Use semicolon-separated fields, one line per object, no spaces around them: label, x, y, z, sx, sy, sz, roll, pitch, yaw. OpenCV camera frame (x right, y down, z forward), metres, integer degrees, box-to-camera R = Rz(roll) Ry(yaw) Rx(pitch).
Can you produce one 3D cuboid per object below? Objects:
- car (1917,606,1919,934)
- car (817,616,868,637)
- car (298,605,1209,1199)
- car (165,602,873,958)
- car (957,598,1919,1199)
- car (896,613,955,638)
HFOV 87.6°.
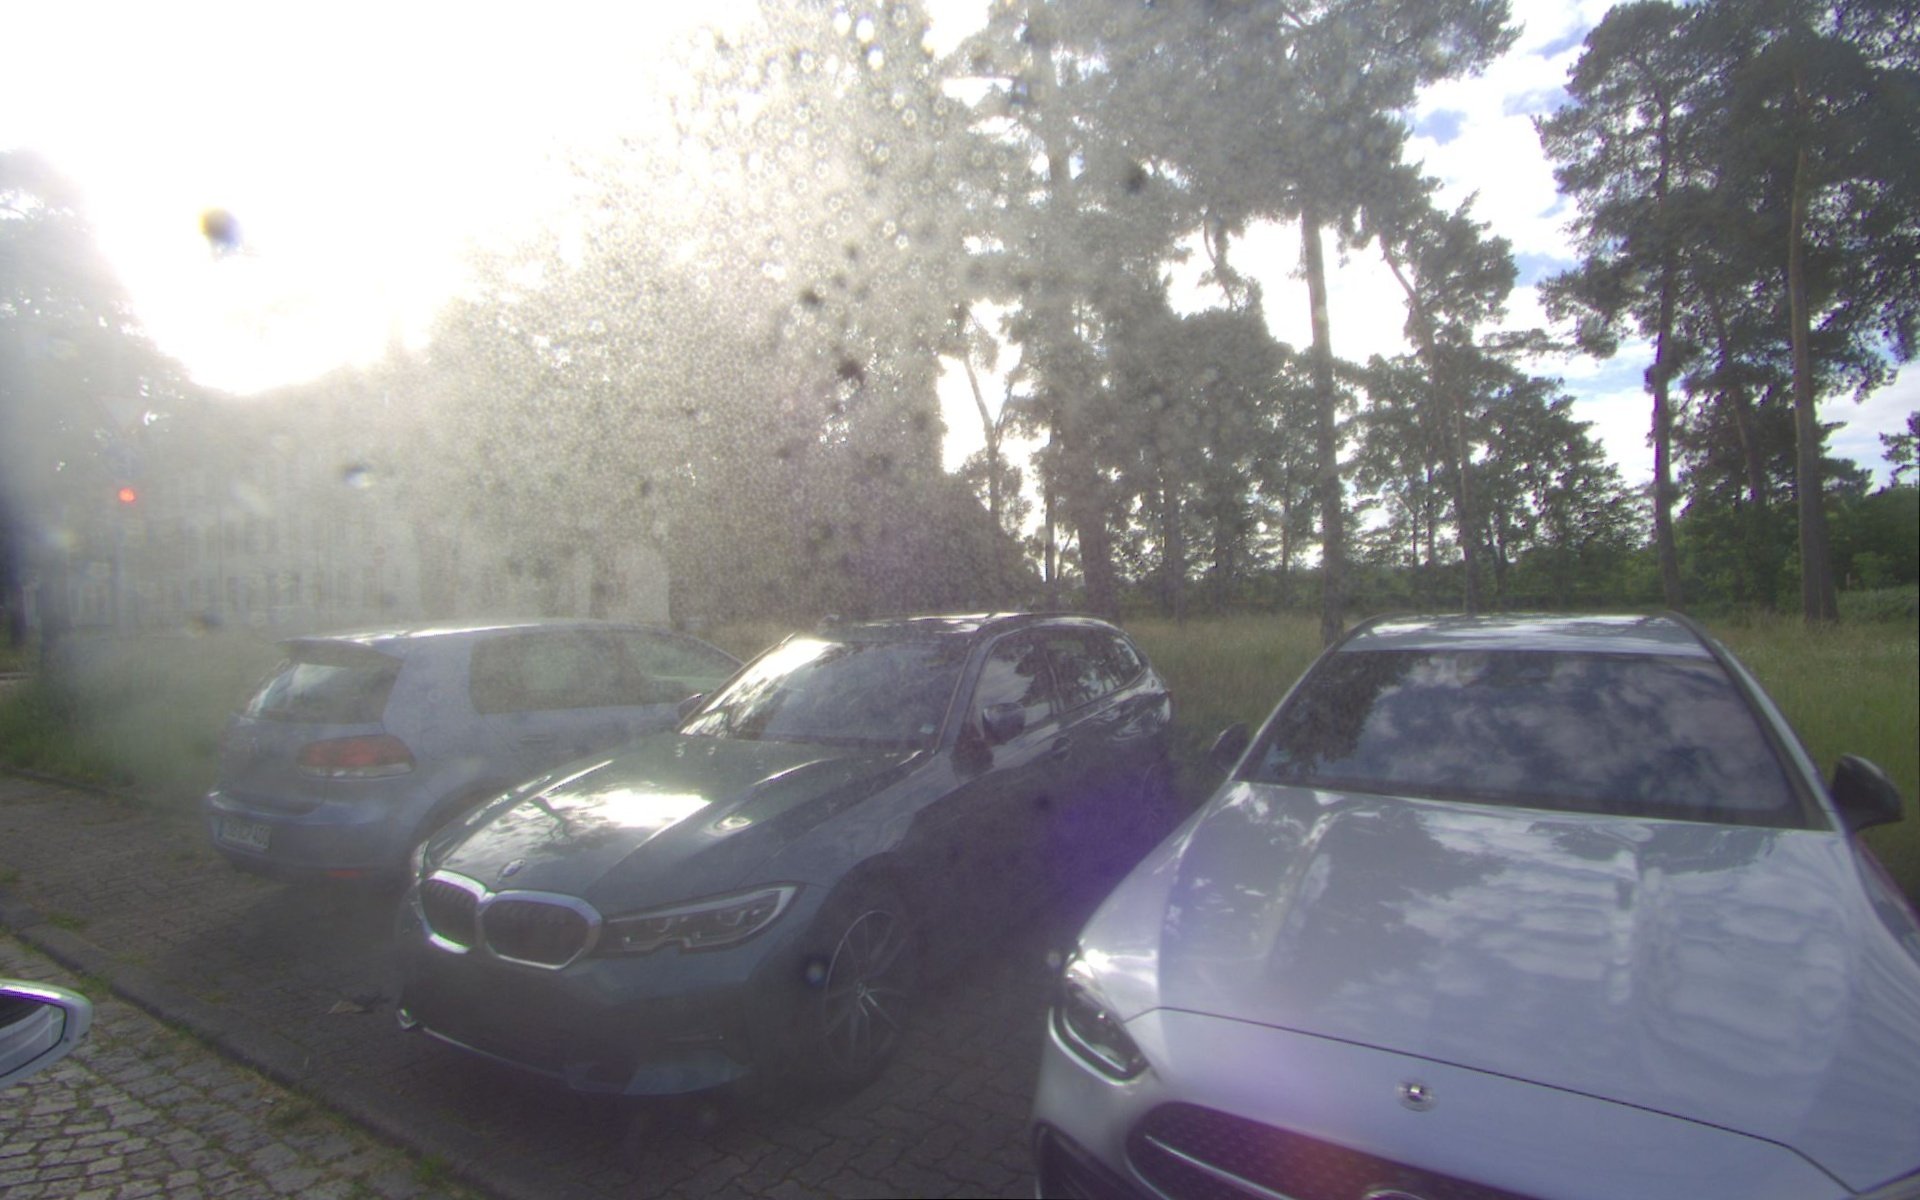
car;3.801;0.722;2.238;1.696;1.441;4.097;-1;-1;34
car;-8.619;1.965;73.682;1.541;1.415;3.980;-1;-3;33
car;-0.325;0.788;4.859;1.781;1.502;4.506;-1;-1;30
car;-2.361;0.782;6.317;1.618;1.490;3.834;-1;0;32
car;1.871;0.743;3.322;1.741;1.448;4.316;-1;0;32
car;-2.355;1.706;68.178;3.922;1.622;2.000;0;0;-4
